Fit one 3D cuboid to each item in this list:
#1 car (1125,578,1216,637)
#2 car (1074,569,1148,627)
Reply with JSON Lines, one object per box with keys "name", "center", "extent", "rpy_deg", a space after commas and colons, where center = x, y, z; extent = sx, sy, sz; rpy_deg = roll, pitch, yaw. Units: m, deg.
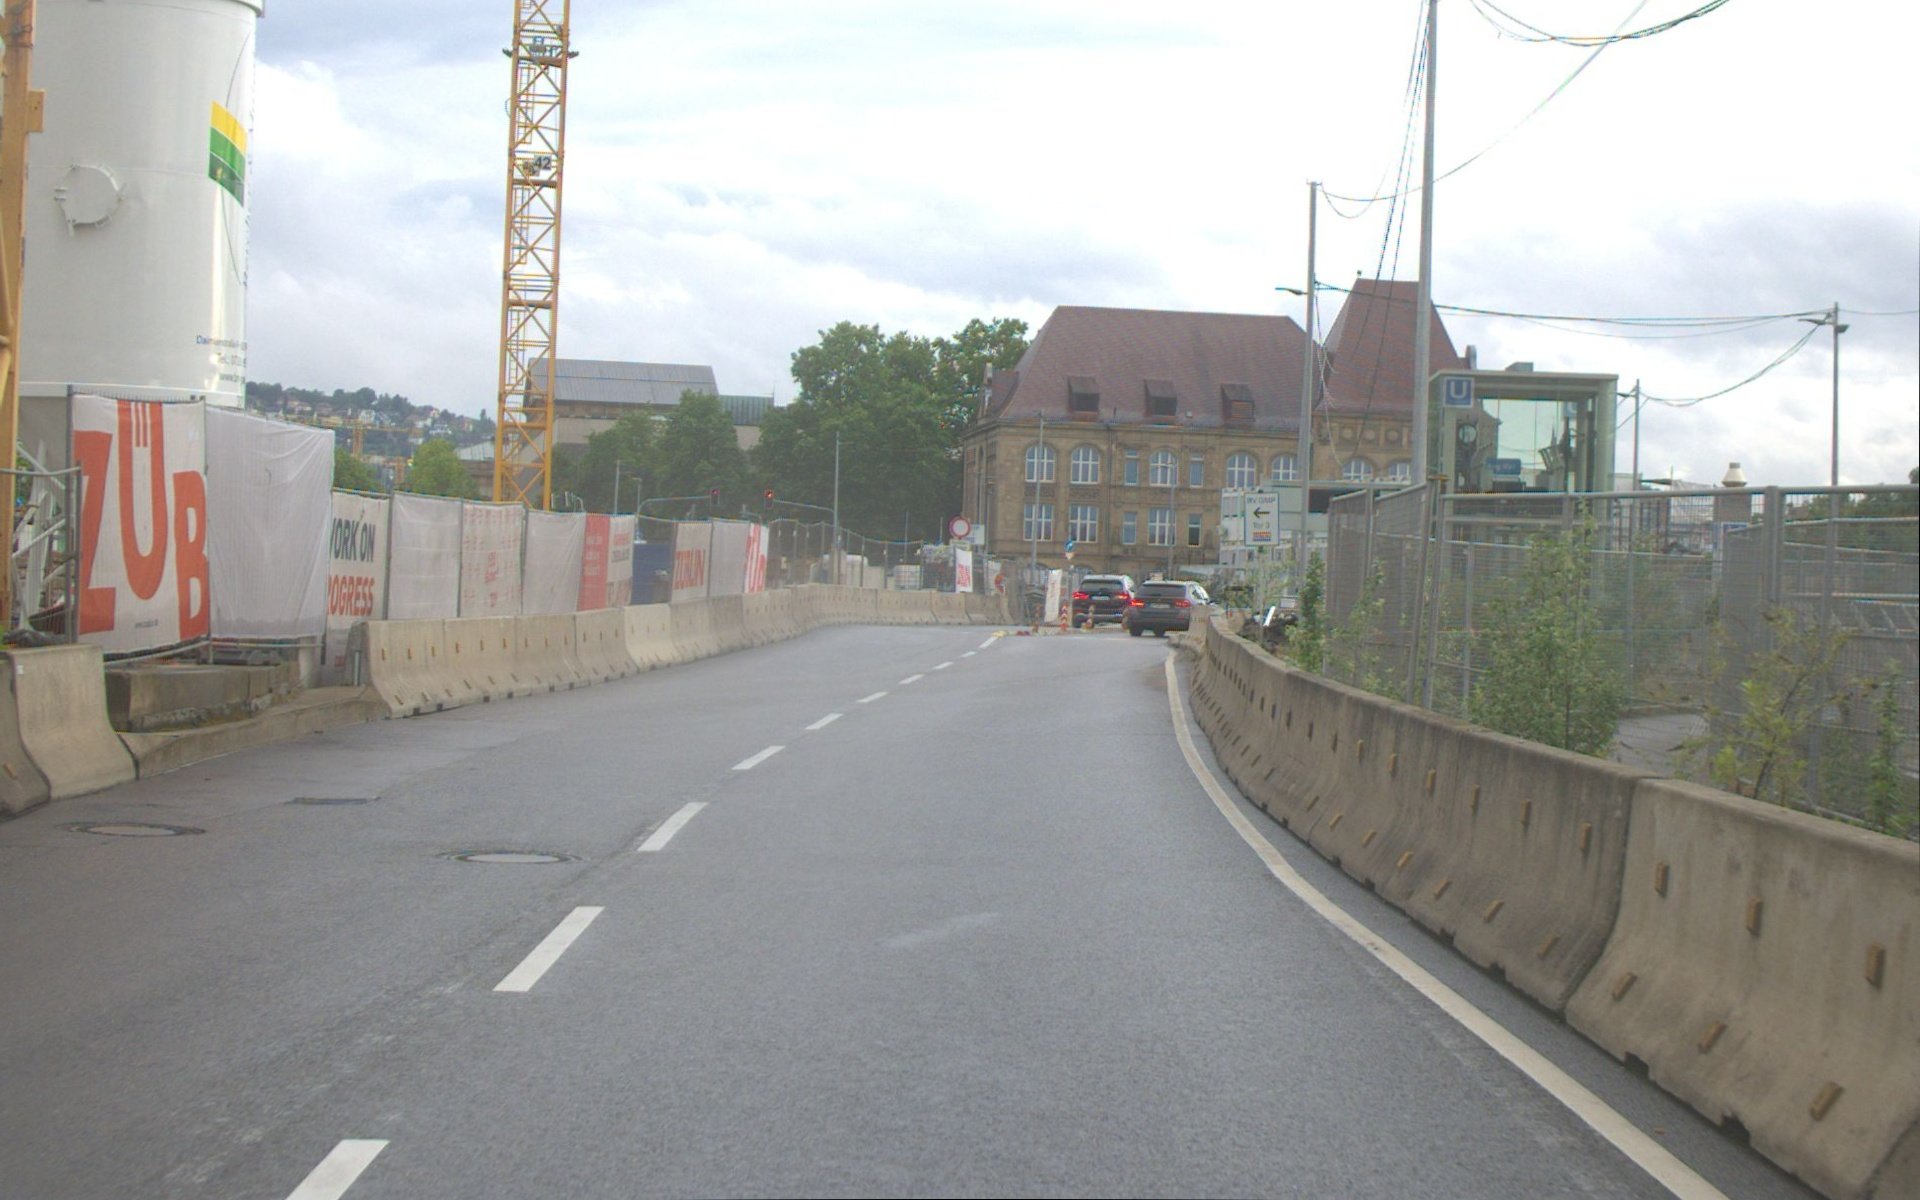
{"name": "car", "center": [5.418, 0.208, 87.980], "extent": [1.863, 1.428, 4.654], "rpy_deg": [1, -1, 9]}
{"name": "car", "center": [4.640, -0.055, 105.248], "extent": [1.863, 1.655, 4.655], "rpy_deg": [3, 0, 7]}
